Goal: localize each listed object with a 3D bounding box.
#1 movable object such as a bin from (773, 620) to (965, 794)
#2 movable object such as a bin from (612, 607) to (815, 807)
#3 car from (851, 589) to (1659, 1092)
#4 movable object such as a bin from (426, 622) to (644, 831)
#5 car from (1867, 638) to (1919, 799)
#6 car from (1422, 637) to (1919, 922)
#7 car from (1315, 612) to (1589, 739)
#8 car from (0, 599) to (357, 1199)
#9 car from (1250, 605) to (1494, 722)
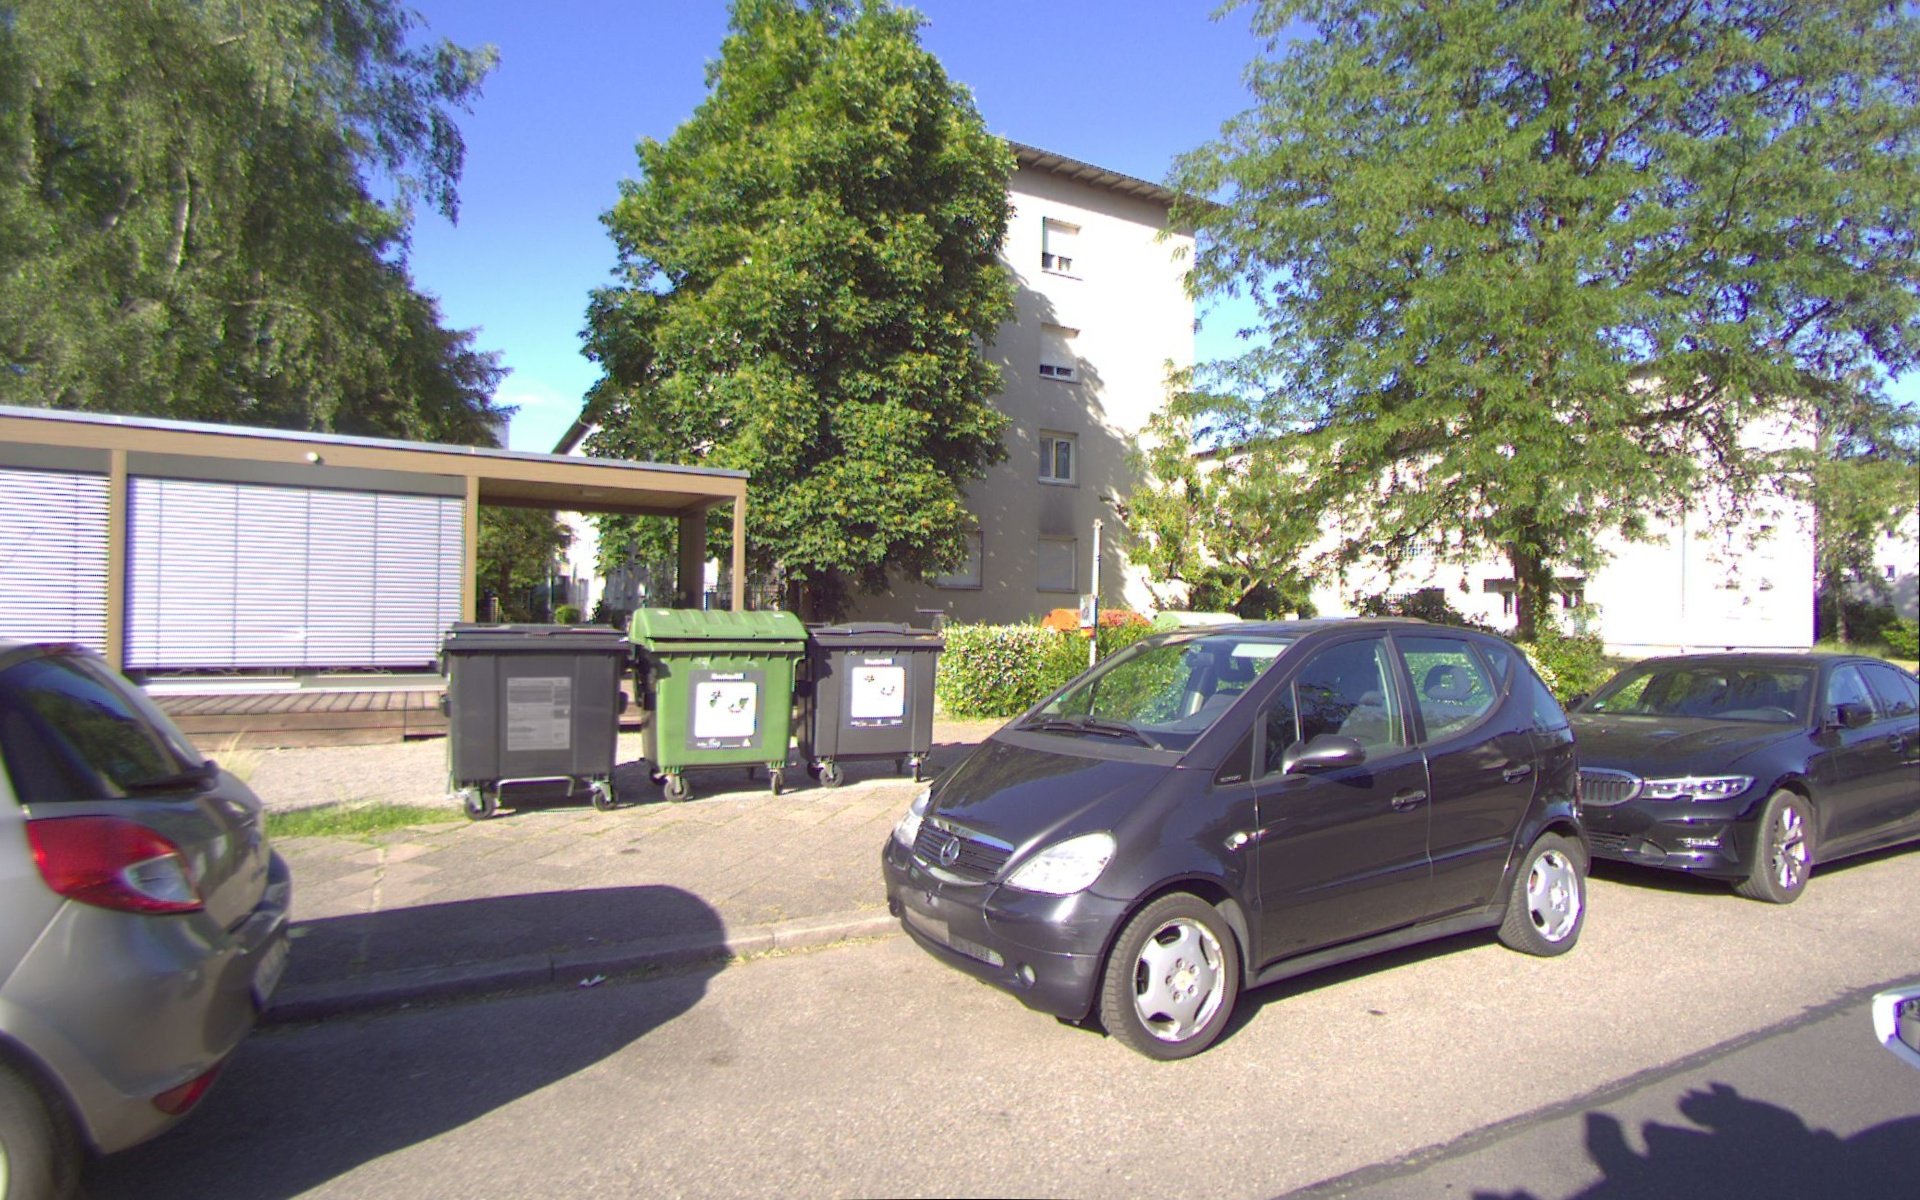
[{"bbox_3d":[-0.822,0.877,8.806,1.326,1.358,1.173,1,0,-27],"label":"movable object such as a bin"},{"bbox_3d":[-2.005,0.791,8.076,1.326,1.427,1.173,1,0,-28],"label":"movable object such as a bin"},{"bbox_3d":[1.503,0.846,4.907,3.677,1.594,1.746,2,-3,-30],"label":"car"},{"bbox_3d":[-3.078,0.836,7.249,1.326,1.305,1.173,1,0,-28],"label":"movable object such as a bin"},{"bbox_3d":[11.030,1.200,10.458,3.105,1.594,1.438,2,-3,-30],"label":"car"},{"bbox_3d":[5.524,1.045,7.221,4.484,1.500,1.746,2,-3,-30],"label":"car"},{"bbox_3d":[6.989,0.993,14.170,3.954,1.545,1.562,2,0,-31],"label":"car"},{"bbox_3d":[-3.687,0.753,2.187,3.909,1.500,1.748,1,-3,-27],"label":"car"},{"bbox_3d":[6.698,0.970,16.229,3.954,1.663,1.562,2,0,-31],"label":"car"}]
